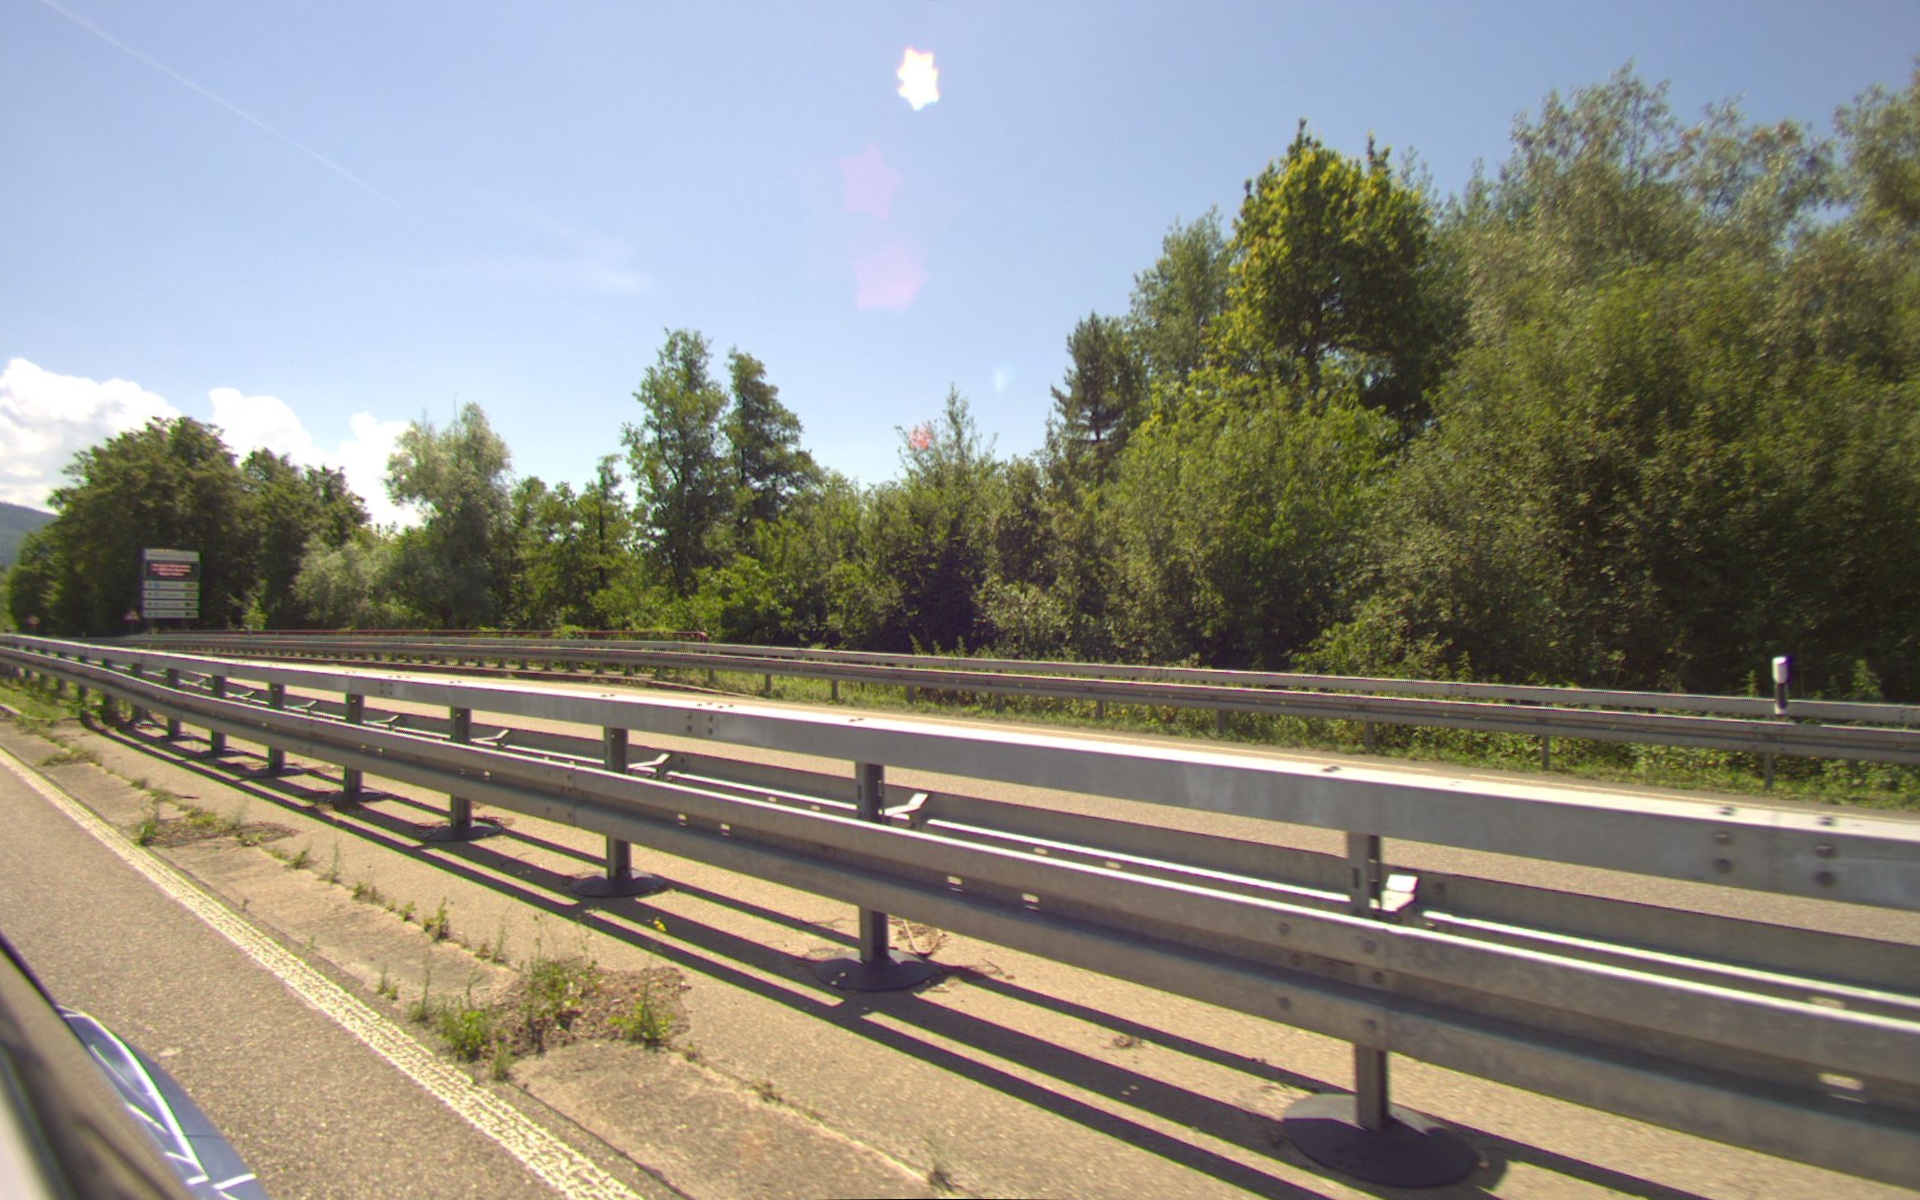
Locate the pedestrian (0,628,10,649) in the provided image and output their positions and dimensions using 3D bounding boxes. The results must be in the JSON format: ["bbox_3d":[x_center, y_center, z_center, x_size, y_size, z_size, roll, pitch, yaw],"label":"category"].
[{"bbox_3d":[-70.498,2.837,74.593,0.494,1.552,0.608,-2,-3,41],"label":"pedestrian"}]

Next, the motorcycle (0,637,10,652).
[{"bbox_3d":[-70.781,3.306,74.819,2.312,1.112,0.608,-2,-2,42],"label":"motorcycle"}]

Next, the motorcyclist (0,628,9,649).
[{"bbox_3d":[-70.987,2.850,75.025,0.776,1.552,0.608,-2,-3,41],"label":"motorcyclist"}]
